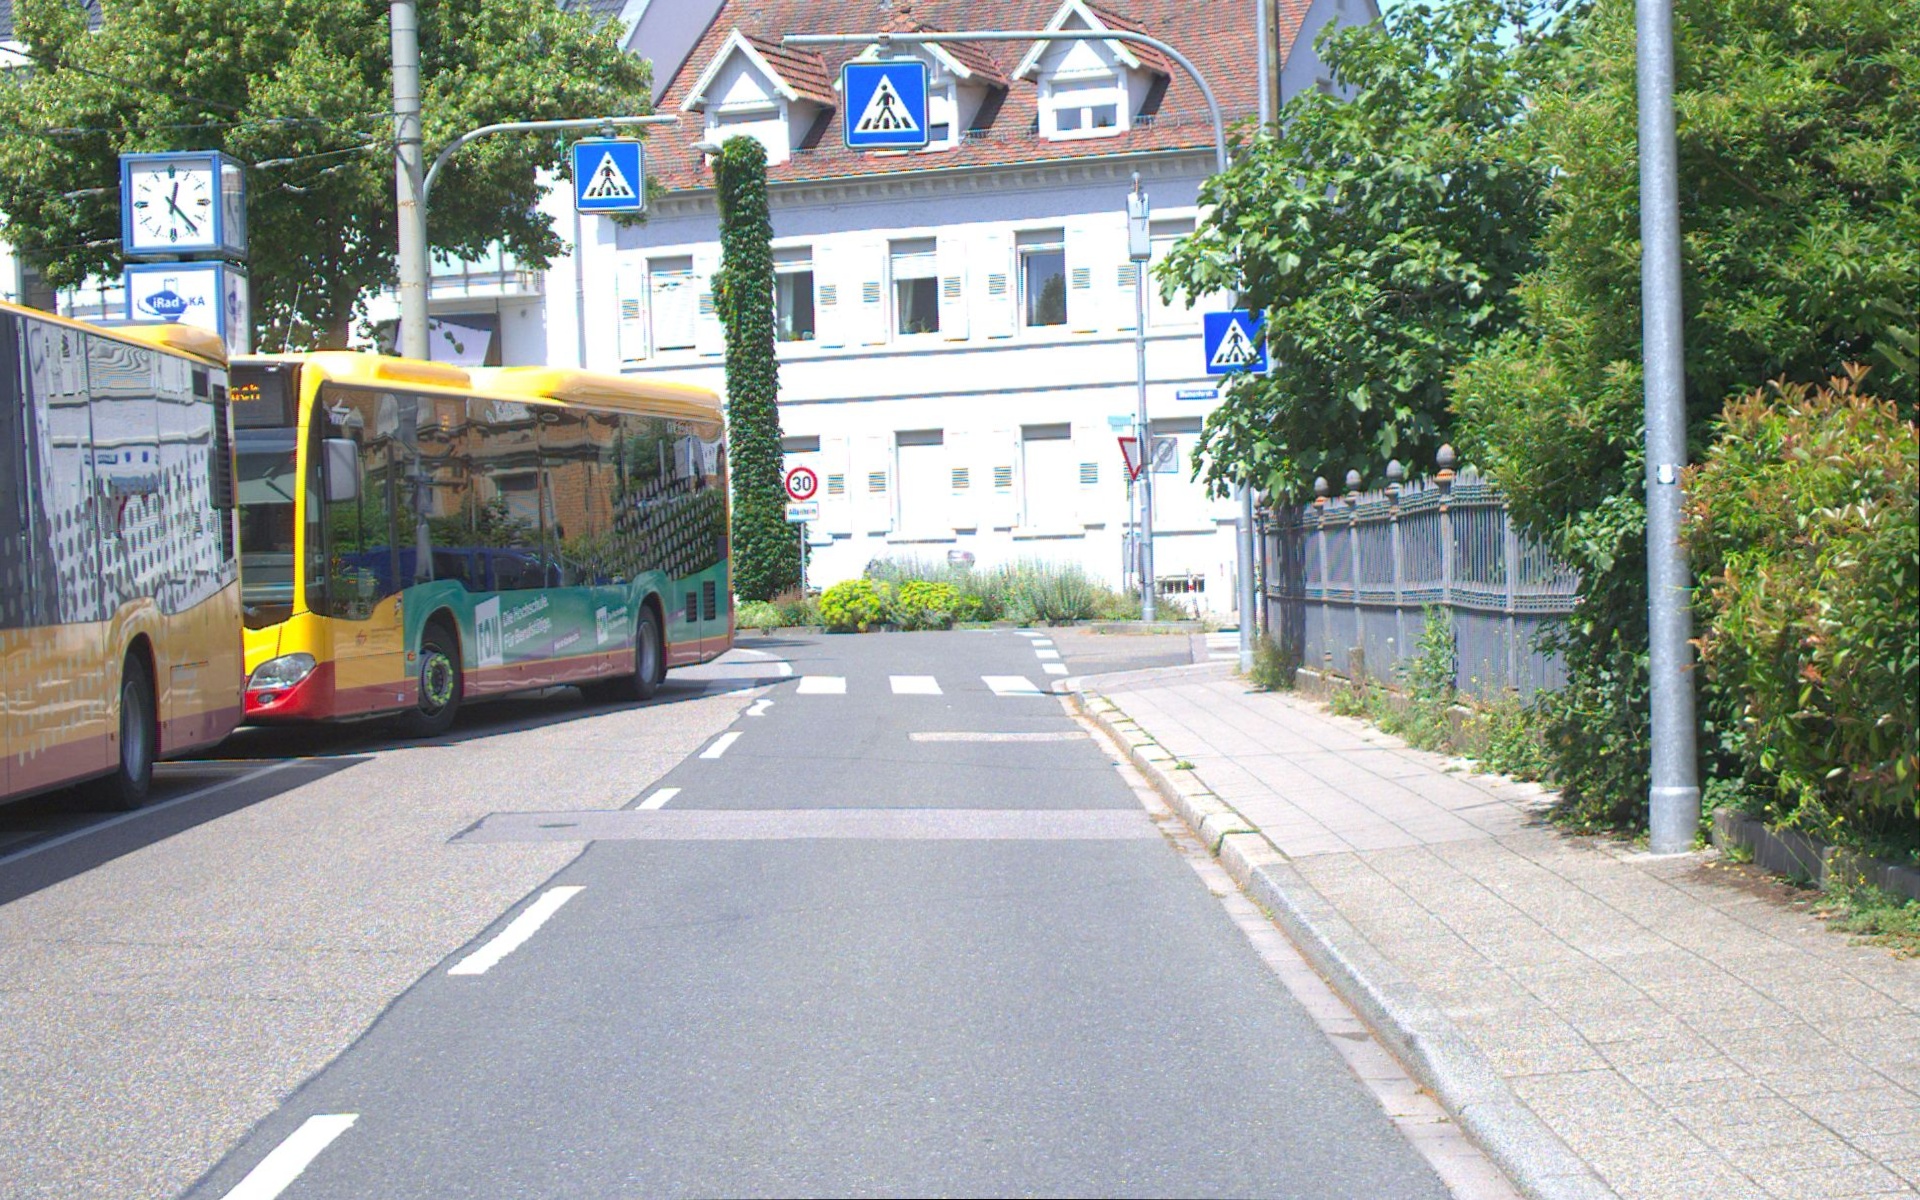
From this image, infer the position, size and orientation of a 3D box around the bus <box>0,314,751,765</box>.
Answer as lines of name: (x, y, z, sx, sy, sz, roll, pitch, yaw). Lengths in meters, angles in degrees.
bus: (-4.789, -0.598, 30.706, 2.781, 3.197, 12.301, 0, 2, 11)

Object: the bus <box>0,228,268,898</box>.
bus: (-6.101, -0.185, 17.417, 2.907, 3.237, 12.119, 0, 0, -1)
